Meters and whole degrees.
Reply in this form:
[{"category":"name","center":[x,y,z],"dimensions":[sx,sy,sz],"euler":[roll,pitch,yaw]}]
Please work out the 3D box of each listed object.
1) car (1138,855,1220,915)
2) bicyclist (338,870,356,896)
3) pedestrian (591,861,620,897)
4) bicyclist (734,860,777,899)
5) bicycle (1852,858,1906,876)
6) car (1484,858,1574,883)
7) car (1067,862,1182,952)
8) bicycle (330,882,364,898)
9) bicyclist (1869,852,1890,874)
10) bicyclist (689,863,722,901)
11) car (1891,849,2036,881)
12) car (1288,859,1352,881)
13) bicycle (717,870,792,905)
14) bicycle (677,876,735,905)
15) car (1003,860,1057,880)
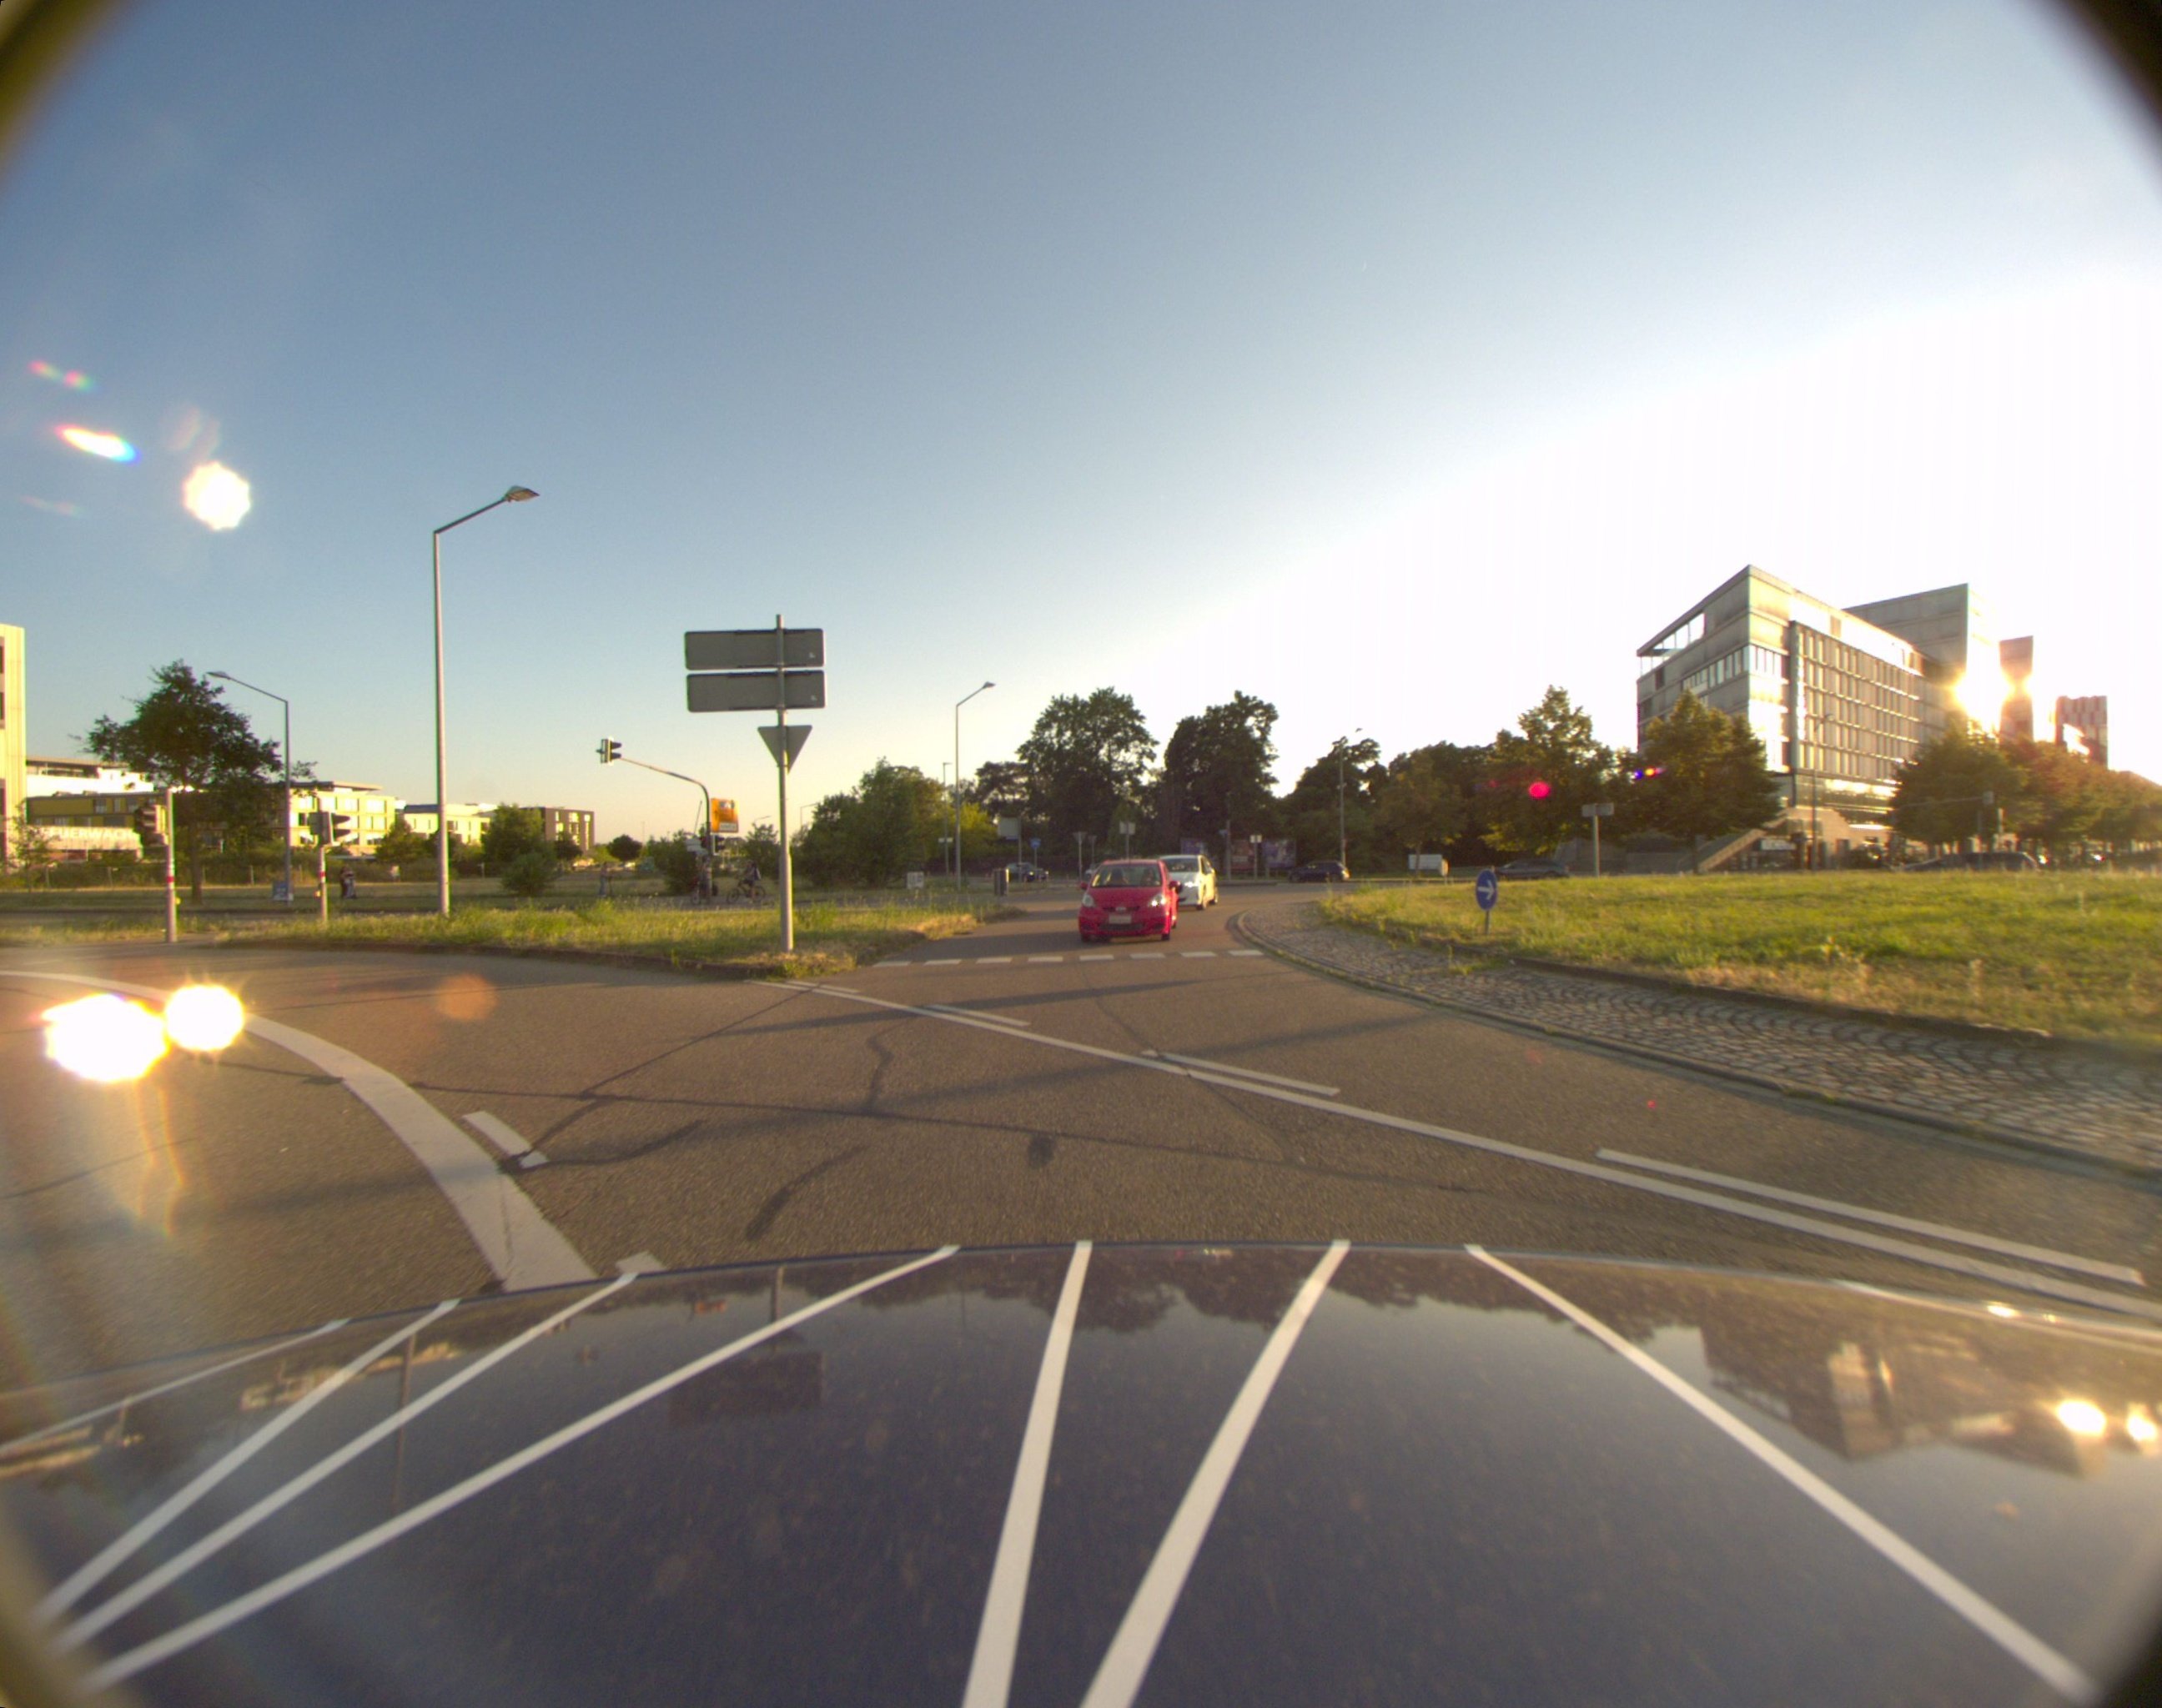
[{"category":"car","center":[2.939,0.838,22.116],"dimensions":[1.757,1.549,4.220],"euler":[-1,0,15]},{"category":"bicyclist","center":[-38.891,1.538,40.264],"dimensions":[0.447,1.389,0.474],"euler":[-1,0,4]},{"category":"pedestrian","center":[-23.233,1.214,37.130],"dimensions":[0.889,1.691,0.721],"euler":[-1,0,11]},{"category":"bicyclist","center":[-14.760,1.136,34.449],"dimensions":[1.121,1.739,1.419],"euler":[0,1,15]},{"category":"bicycle","center":[51.888,0.821,49.409],"dimensions":[0.756,1.160,2.402],"euler":[-1,0,-41]},{"category":"car","center":[26.579,0.979,45.251],"dimensions":[4.393,1.424,1.948],"euler":[-1,0,21]},{"category":"car","center":[0.987,0.906,14.589],"dimensions":[1.692,1.413,4.214],"euler":[-1,0,10]},{"category":"bicycle","center":[-38.902,1.914,40.274],"dimensions":[1.417,0.787,0.474],"euler":[-1,0,4]},{"category":"bicyclist","center":[51.931,0.593,49.422],"dimensions":[0.756,1.384,0.877],"euler":[-1,1,-41]},{"category":"bicyclist","center":[-16.778,1.233,33.944],"dimensions":[0.808,1.623,1.002],"euler":[0,1,25]},{"category":"car","center":[41.519,0.518,35.917],"dimensions":[1.949,1.424,4.391],"euler":[-1,0,-42]},{"category":"car","center":[16.006,1.064,50.820],"dimensions":[3.740,1.424,1.948],"euler":[-1,0,30]},{"category":"bicycle","center":[-14.694,1.468,34.381],"dimensions":[1.121,1.387,3.543],"euler":[0,0,16]},{"category":"bicycle","center":[-16.750,1.634,34.032],"dimensions":[0.808,1.172,2.333],"euler":[0,0,25]},{"category":"car","center":[-4.011,1.202,59.278],"dimensions":[1.846,1.492,4.242],"euler":[-1,0,-45]}]
